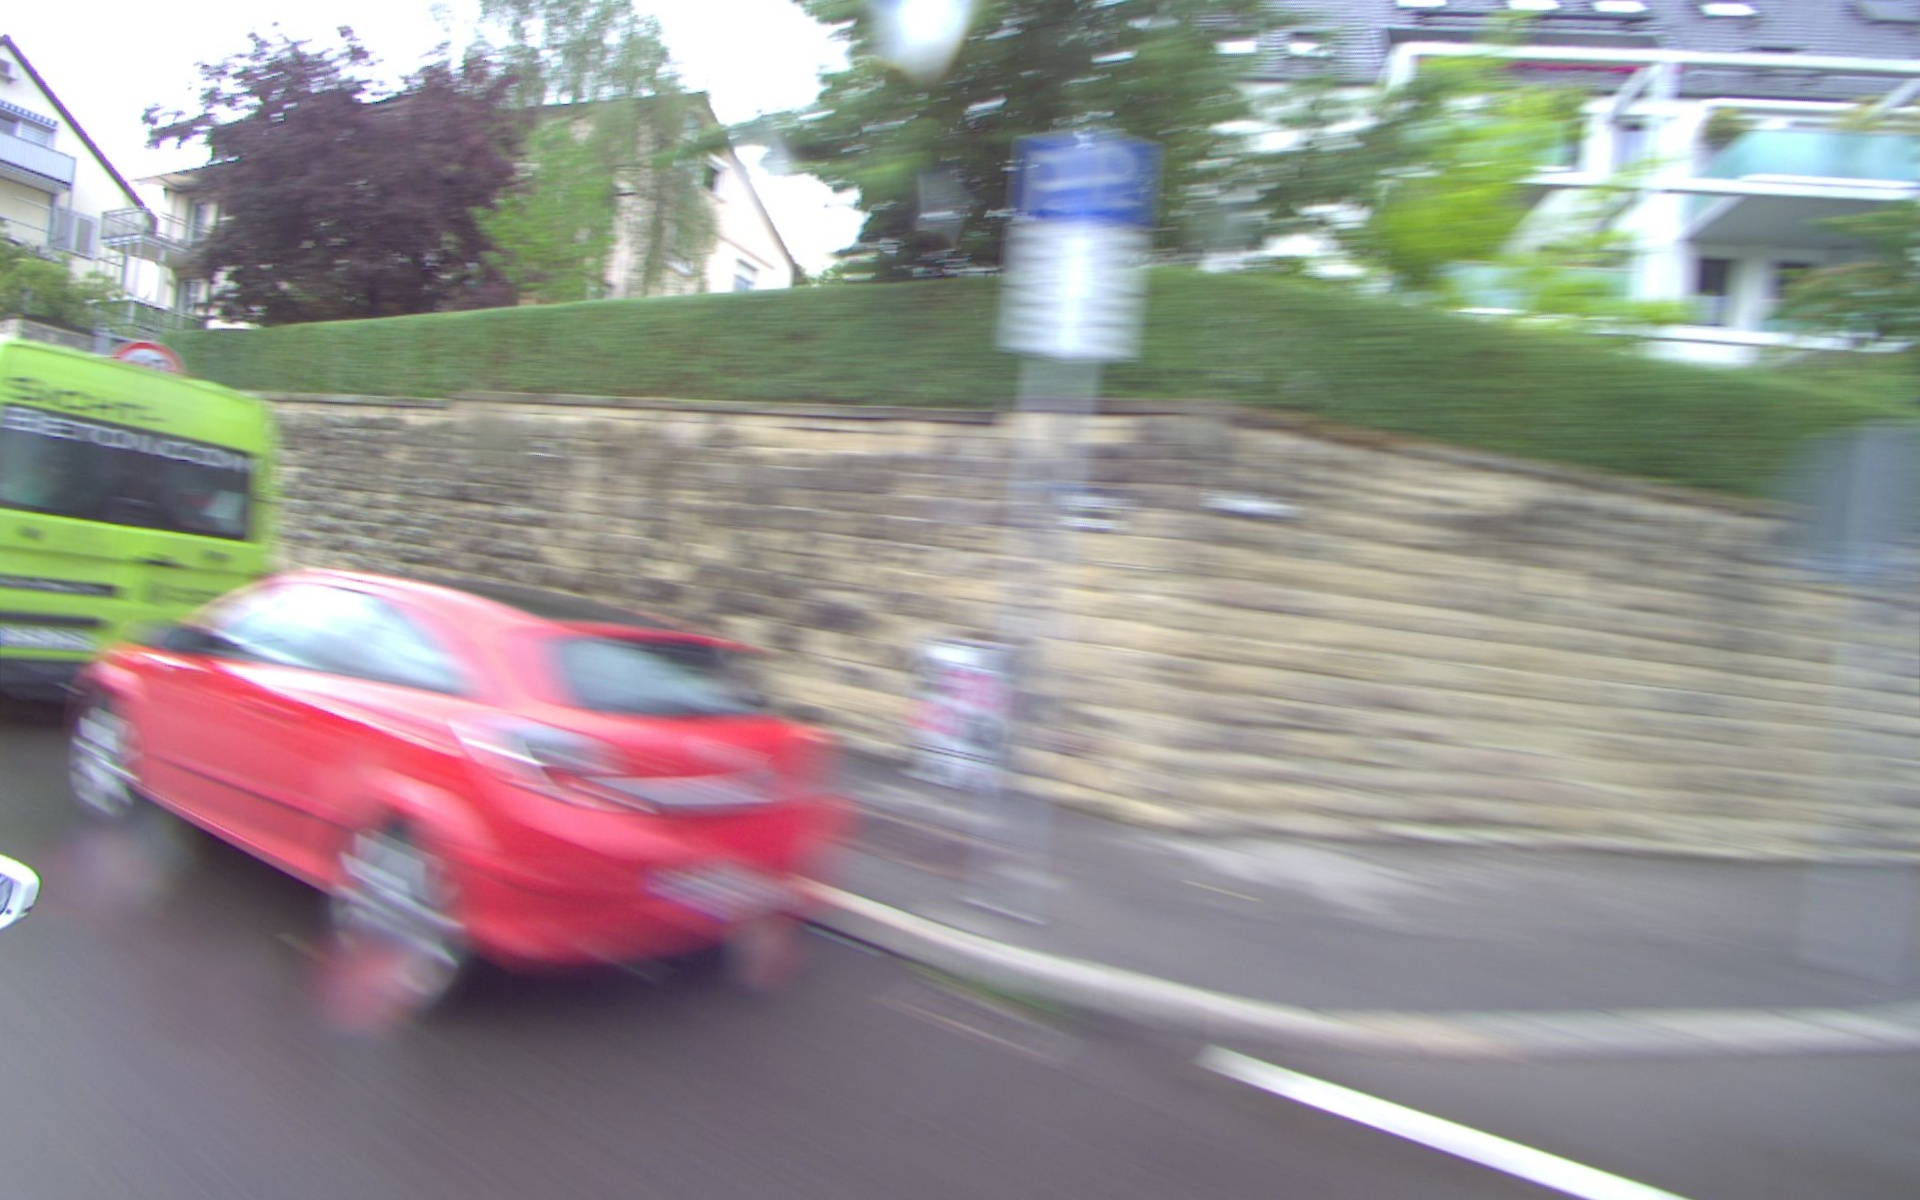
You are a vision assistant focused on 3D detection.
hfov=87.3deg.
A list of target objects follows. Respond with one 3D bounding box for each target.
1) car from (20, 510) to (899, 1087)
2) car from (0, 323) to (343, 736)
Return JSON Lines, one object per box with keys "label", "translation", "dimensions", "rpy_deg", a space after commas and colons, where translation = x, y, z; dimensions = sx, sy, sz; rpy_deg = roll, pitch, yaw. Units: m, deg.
{"label": "car", "translation": [-2.540, 0.570, 4.771], "dimensions": [4.134, 1.437, 1.724], "rpy_deg": [7, -2, 33]}
{"label": "car", "translation": [-7.979, -0.656, 8.331], "dimensions": [5.978, 2.492, 2.210], "rpy_deg": [7, -1, 32]}
